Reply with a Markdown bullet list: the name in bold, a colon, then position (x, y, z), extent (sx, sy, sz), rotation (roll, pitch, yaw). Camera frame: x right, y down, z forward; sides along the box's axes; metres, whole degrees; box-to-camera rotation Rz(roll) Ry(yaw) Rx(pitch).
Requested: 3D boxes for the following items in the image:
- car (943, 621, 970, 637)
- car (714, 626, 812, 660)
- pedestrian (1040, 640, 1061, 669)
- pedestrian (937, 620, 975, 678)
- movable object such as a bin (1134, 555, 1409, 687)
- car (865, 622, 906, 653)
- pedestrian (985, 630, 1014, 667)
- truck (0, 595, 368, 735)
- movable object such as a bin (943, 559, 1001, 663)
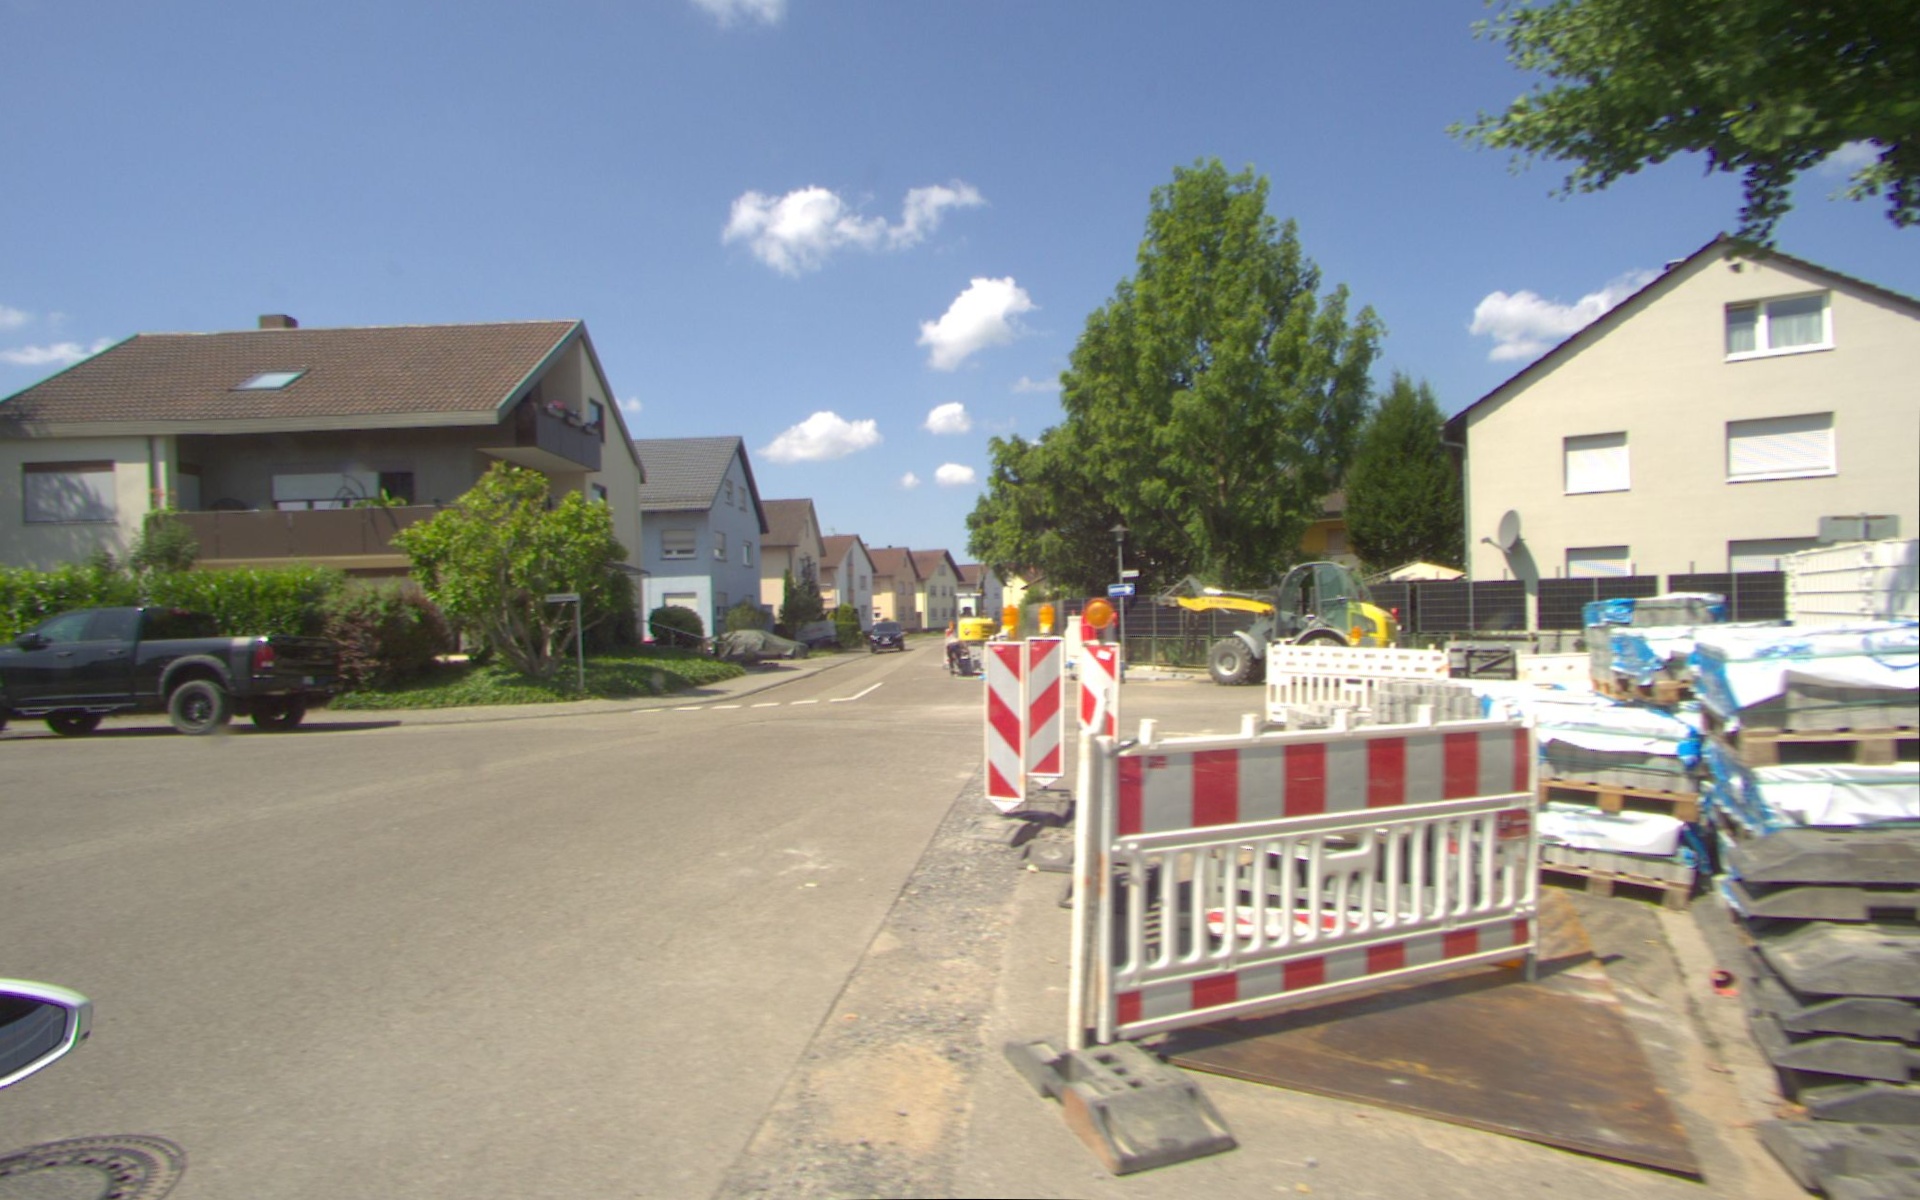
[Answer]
- **car**: position (-0.380, 3.148, 108.361), extent (1.932, 1.672, 3.996), rotation (-1, -1, 15)
- **car**: position (-8.674, 1.873, 44.387), extent (3.922, 1.359, 2.000), rotation (-1, -1, 0)
- **pedestrian**: position (2.657, 1.598, 29.358), extent (0.513, 0.803, 0.431), rotation (-2, 0, -9)
- **pedestrian**: position (-0.108, 1.329, 27.420), extent (0.841, 1.534, 0.528), rotation (-2, 0, -41)
- **movable object such as a bin**: position (6.467, 0.523, 21.059), extent (5.160, 2.483, 1.990), rotation (-2, -3, 33)
- **car**: position (-3.958, 1.969, 53.955), extent (1.883, 1.562, 4.001), rotation (-1, -1, 0)
- **pedestrian**: position (1.315, 1.608, 33.336), extent (0.816, 1.184, 0.507), rotation (-2, 0, -40)
- **truck**: position (-13.358, 1.096, 16.655), extent (5.601, 2.038, 2.374), rotation (-1, -3, -2)
- **movable object such as a bin**: position (0.496, 0.407, 37.038), extent (1.961, 3.612, 3.816), rotation (-1, -1, 2)
